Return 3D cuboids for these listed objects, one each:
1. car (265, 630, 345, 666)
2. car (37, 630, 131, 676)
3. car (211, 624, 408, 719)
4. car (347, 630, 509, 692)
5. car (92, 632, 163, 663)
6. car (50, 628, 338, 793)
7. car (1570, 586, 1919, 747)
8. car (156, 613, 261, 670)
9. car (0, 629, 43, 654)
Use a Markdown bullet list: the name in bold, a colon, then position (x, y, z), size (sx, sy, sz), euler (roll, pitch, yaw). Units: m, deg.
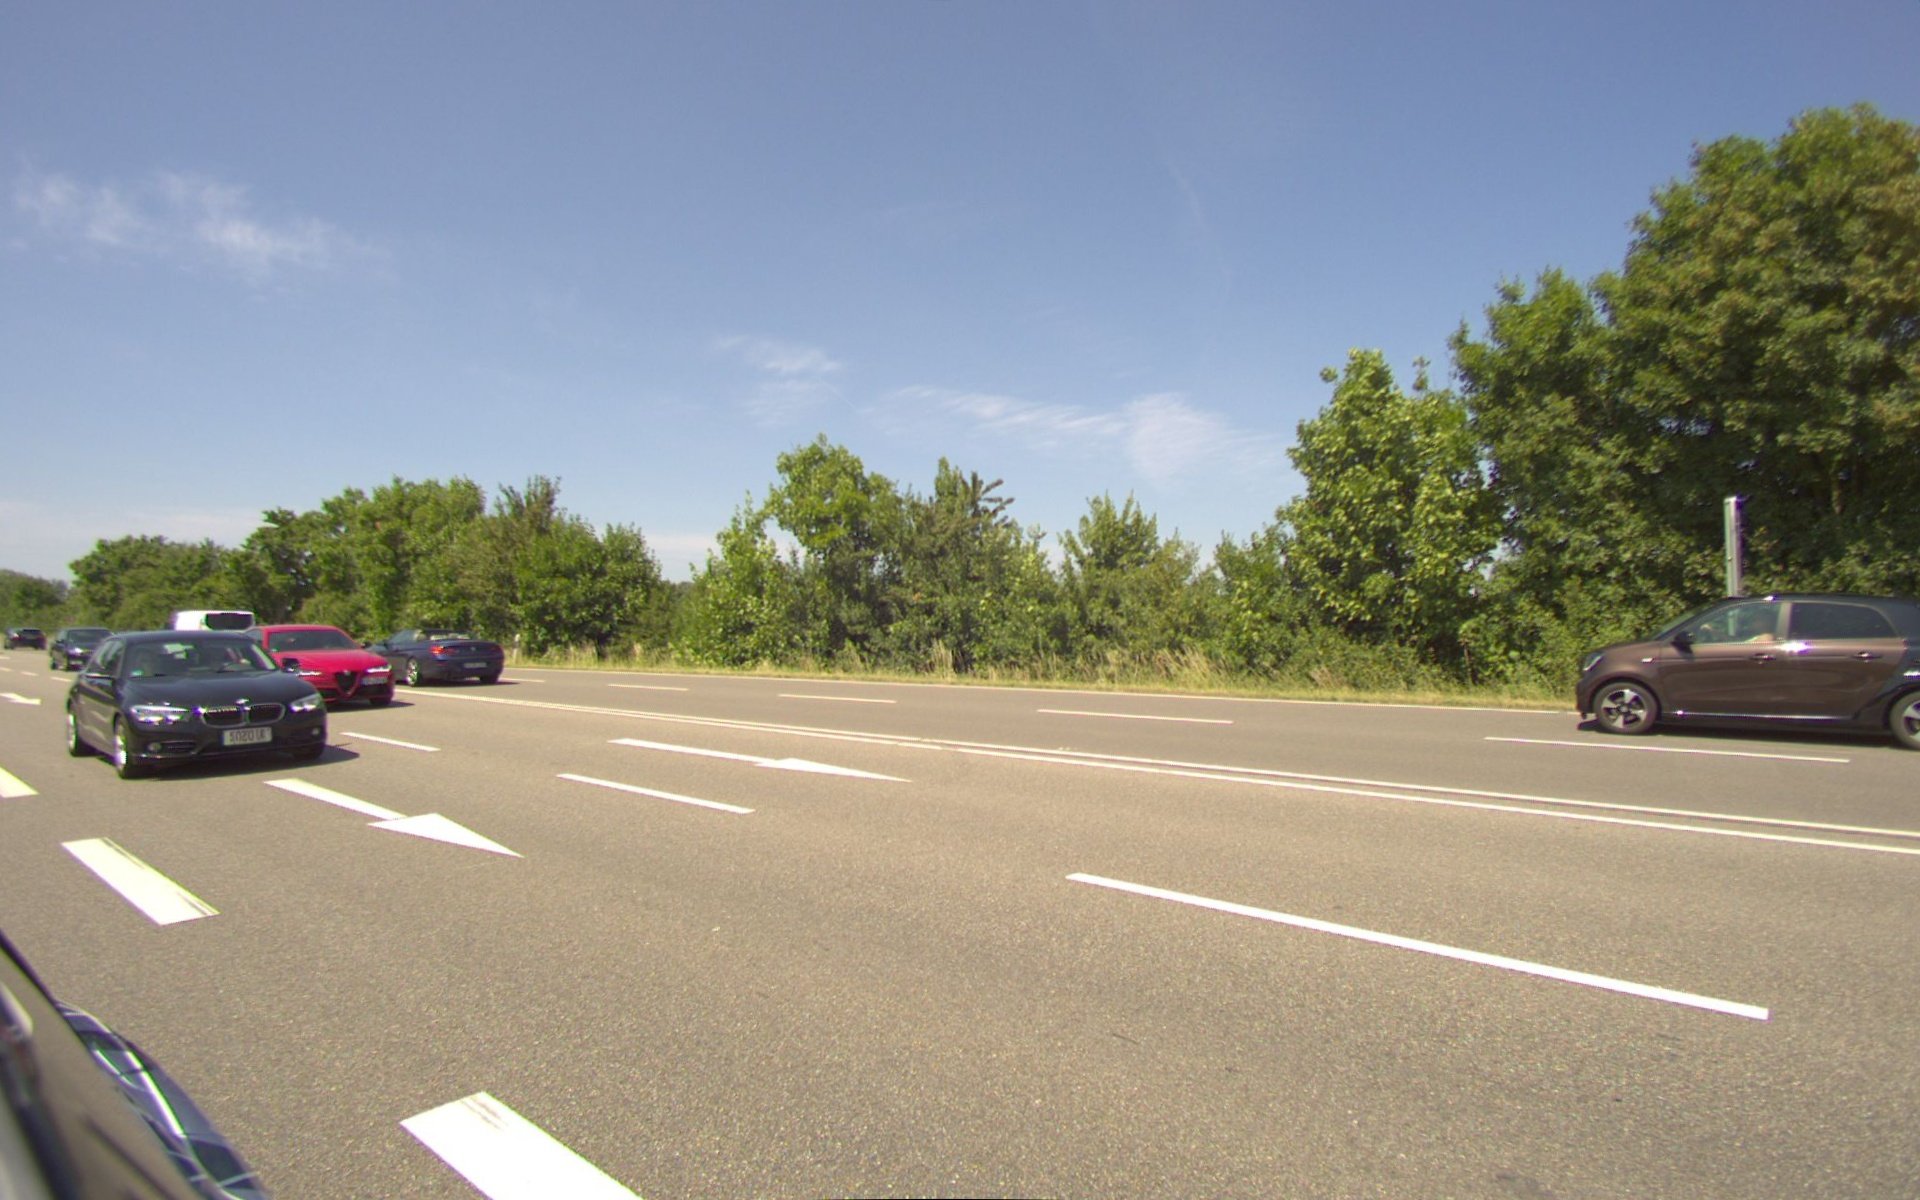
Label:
- **car**: position (-28.063, 2.022, 43.318), size (4.338, 1.472, 1.642), euler (-2, -2, 39)
- **car**: position (-29.717, 1.761, 34.295), size (4.462, 1.422, 1.658), euler (-1, -1, 39)
- **car**: position (-11.651, 1.209, 17.996), size (4.563, 1.432, 1.731), euler (-2, -1, 41)
- **car**: position (-12.689, 1.374, 24.007), size (4.762, 1.289, 1.786), euler (-2, -1, 41)
- **car**: position (-37.640, 2.129, 45.740), size (4.849, 1.344, 1.536), euler (-2, -2, 39)
- **car**: position (-8.681, 1.087, 11.315), size (4.379, 1.441, 1.765), euler (-2, -1, 42)
- **car**: position (8.676, 0.633, 10.749), size (3.555, 1.499, 1.628), euler (-2, -1, 40)
- **car**: position (-27.218, 1.476, 36.587), size (5.046, 1.932, 1.886), euler (-2, -3, 40)
- **car**: position (-62.117, 2.706, 66.830), size (4.525, 1.547, 1.869), euler (-1, -1, 42)
